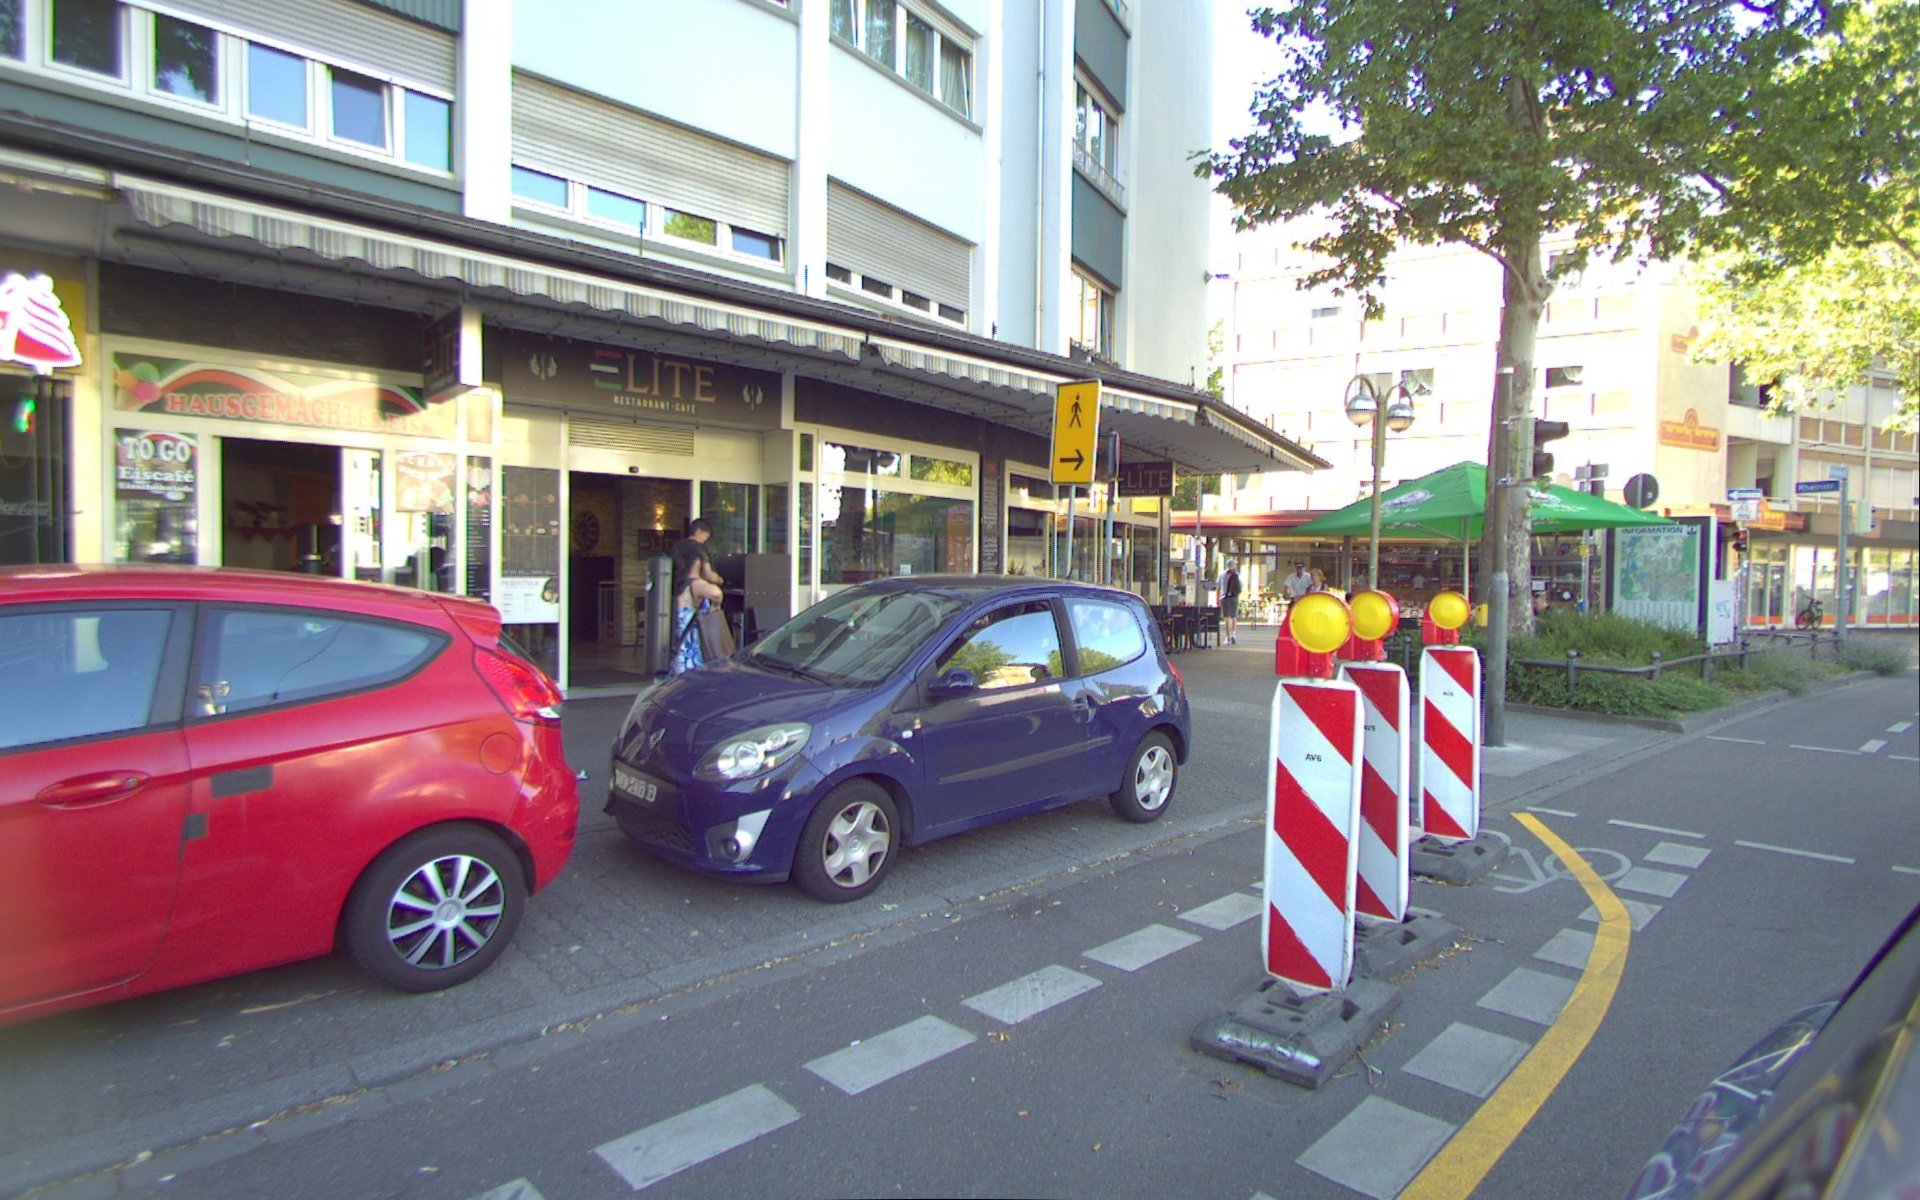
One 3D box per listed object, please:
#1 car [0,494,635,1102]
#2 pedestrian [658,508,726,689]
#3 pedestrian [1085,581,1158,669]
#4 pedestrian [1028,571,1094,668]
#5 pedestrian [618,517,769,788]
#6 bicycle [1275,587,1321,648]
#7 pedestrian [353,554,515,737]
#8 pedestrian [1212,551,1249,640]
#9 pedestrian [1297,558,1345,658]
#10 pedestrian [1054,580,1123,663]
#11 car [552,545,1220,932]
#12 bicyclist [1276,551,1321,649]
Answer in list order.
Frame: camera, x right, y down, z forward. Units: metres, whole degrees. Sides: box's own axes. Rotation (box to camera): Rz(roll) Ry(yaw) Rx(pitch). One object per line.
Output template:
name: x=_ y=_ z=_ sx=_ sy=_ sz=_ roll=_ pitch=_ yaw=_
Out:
car: x=-3.231 y=0.468 z=3.239 sx=3.761 sy=1.614 sz=1.784 roll=-1 pitch=5 yaw=-45
pedestrian: x=-2.745 y=-0.032 z=10.375 sx=0.547 sy=1.800 sz=0.395 roll=-1 pitch=4 yaw=-43
pedestrian: x=2.297 y=0.338 z=14.497 sx=0.685 sy=1.207 sz=0.881 roll=0 pitch=1 yaw=-18
pedestrian: x=1.415 y=0.259 z=14.307 sx=0.685 sy=1.323 sz=0.793 roll=1 pitch=1 yaw=-13
pedestrian: x=-1.759 y=0.308 z=6.694 sx=0.783 sy=1.666 sz=0.583 roll=-2 pitch=3 yaw=-42
bicycle: x=6.683 y=0.333 z=19.959 sx=0.743 sy=1.144 sz=1.872 roll=1 pitch=0 yaw=22
pedestrian: x=-4.259 y=0.317 z=8.183 sx=0.937 sy=1.352 sz=1.069 roll=0 pitch=2 yaw=-41
pedestrian: x=6.175 y=-0.109 z=23.081 sx=0.642 sy=1.983 sz=0.882 roll=1 pitch=1 yaw=26
pedestrian: x=6.126 y=0.127 z=17.187 sx=0.624 sy=1.657 sz=0.525 roll=2 pitch=1 yaw=34
pedestrian: x=1.938 y=0.313 z=15.298 sx=0.776 sy=1.207 sz=0.648 roll=0 pitch=2 yaw=-34
car: x=-0.255 y=0.510 z=5.922 sx=3.551 sy=1.485 sz=1.769 roll=-1 pitch=5 yaw=-44
bicyclist: x=6.613 y=-0.014 z=19.750 sx=0.745 sy=1.849 sz=0.919 roll=1 pitch=1 yaw=23
